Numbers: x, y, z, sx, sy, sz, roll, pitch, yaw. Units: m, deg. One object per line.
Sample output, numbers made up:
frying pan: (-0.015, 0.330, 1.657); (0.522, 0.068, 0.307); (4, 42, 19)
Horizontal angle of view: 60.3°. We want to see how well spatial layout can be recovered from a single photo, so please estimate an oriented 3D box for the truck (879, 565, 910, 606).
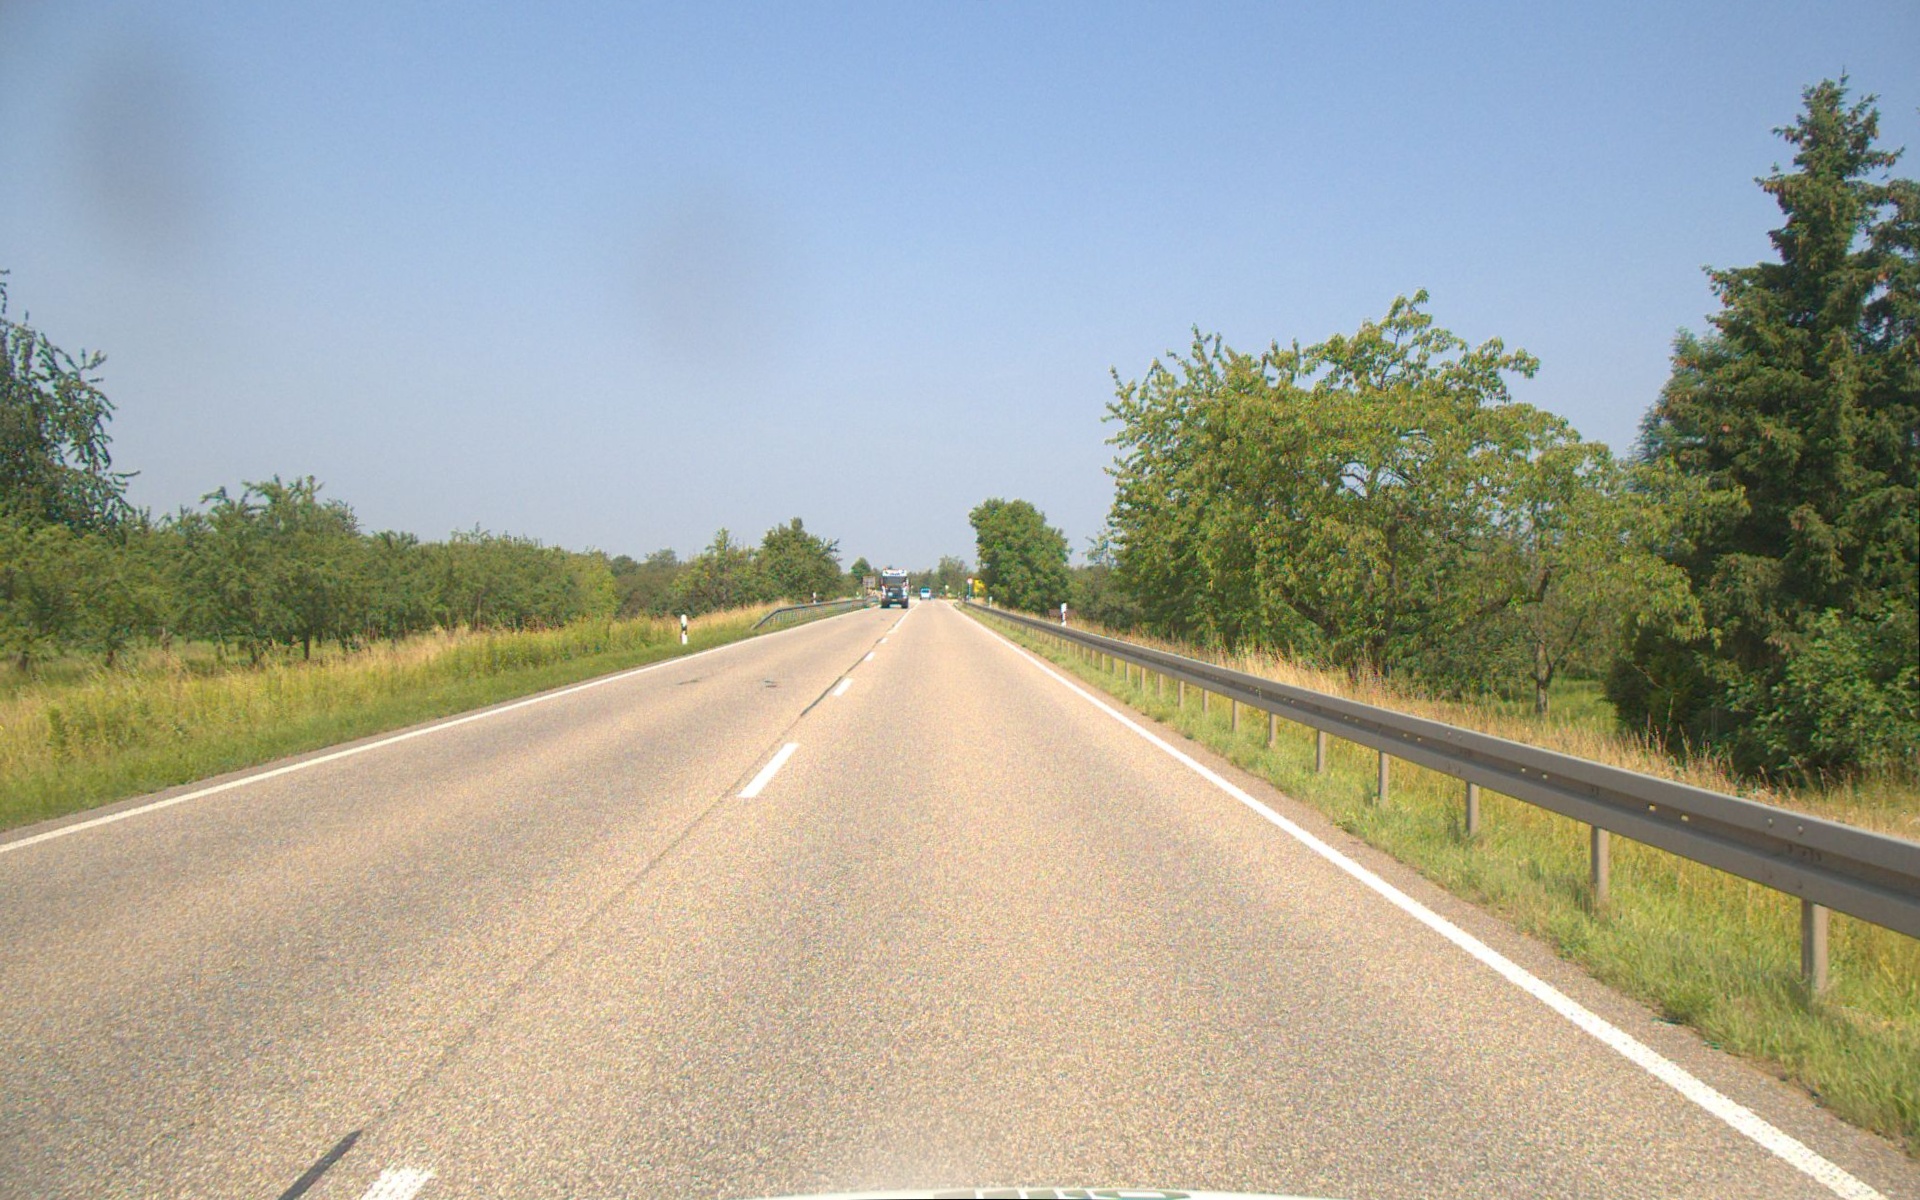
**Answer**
truck: (-6.154, -1.313, 156.537); (2.673, 3.736, 9.380); (1, 0, -1)
